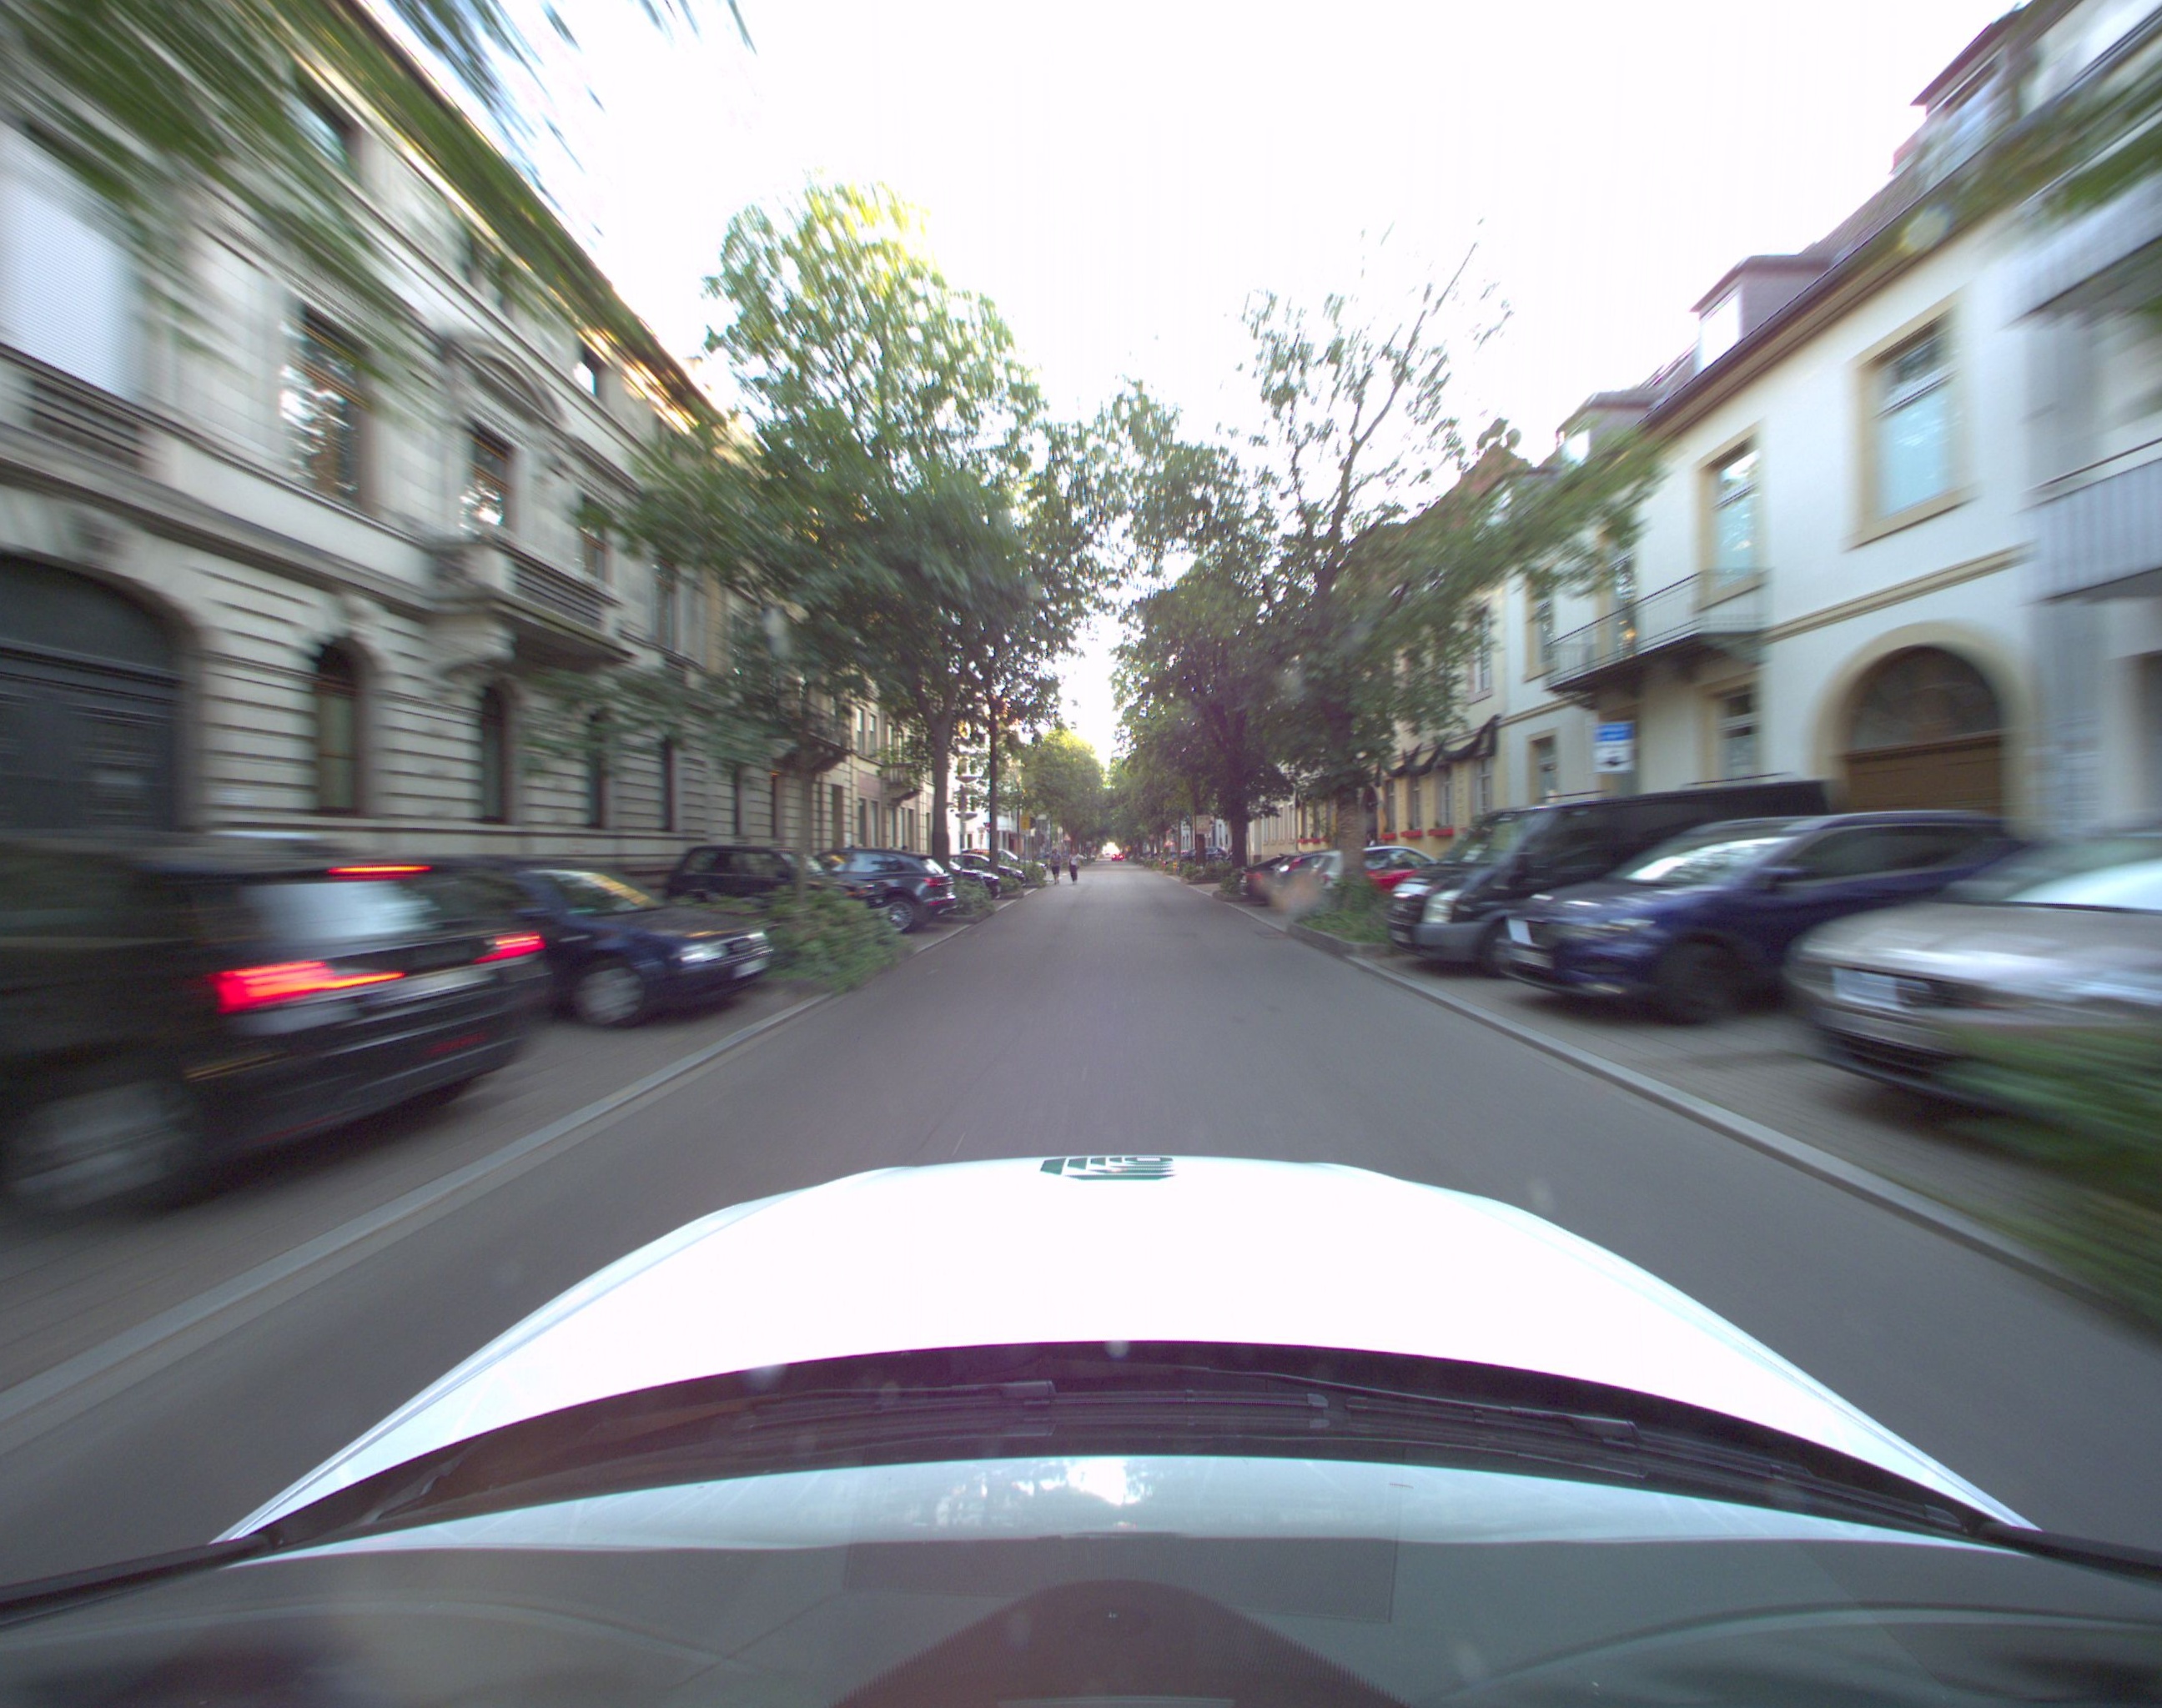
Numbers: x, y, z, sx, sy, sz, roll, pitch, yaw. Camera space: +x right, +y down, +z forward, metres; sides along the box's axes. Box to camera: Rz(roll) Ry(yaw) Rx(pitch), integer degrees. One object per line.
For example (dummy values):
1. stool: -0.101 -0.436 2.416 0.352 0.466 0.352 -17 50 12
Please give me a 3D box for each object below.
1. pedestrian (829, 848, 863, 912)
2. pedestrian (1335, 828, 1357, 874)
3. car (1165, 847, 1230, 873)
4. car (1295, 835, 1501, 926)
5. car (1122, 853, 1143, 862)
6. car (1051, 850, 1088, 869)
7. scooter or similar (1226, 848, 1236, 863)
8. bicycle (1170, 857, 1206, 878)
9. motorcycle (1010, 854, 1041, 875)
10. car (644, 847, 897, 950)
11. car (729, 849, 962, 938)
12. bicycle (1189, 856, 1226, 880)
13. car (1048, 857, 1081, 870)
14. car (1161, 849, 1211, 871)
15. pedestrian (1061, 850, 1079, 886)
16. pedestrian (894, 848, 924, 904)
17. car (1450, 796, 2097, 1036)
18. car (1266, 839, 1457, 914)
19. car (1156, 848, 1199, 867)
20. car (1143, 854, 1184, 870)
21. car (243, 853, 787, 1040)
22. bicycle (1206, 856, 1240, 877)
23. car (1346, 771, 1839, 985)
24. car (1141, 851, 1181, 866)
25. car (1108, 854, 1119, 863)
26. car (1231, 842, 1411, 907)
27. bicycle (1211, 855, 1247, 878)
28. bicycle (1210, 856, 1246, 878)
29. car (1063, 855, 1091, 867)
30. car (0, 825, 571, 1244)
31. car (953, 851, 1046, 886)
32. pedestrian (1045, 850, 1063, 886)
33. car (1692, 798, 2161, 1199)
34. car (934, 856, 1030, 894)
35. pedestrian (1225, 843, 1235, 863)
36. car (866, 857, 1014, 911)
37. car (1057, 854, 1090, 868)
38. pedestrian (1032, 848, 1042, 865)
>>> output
1. pedestrian: -6.429 0.697 22.323 0.666 1.739 0.738 0 0 4
2. pedestrian: 10.440 -0.123 32.104 0.613 1.739 0.624 -3 1 2
3. car: 8.259 0.424 57.957 4.407 1.656 1.901 -2 0 3
4. car: 6.678 0.540 17.447 3.666 1.578 1.715 -4 0 2
5. car: 10.609 0.709 167.948 4.252 1.565 1.964 -3 -1 1
6. car: -1.483 0.712 105.235 4.665 2.478 2.001 -1 -1 1
7. scooter or similar: 11.618 0.115 63.094 0.652 1.153 0.832 -2 0 3
8. bicycle: 6.068 0.769 46.290 1.836 1.135 0.743 -2 0 -9
9. motorcycle: -4.099 0.755 60.085 2.213 1.481 0.854 -1 1 -17
10. car: -5.366 0.739 14.427 3.788 1.672 1.714 1 1 0
11. car: -4.740 0.768 16.829 4.185 1.672 1.908 1 1 2
12. bicycle: 6.643 0.727 42.785 1.823 1.178 0.673 -2 0 1
13. car: -1.949 1.100 96.925 3.854 1.486 1.758 0 0 3
14. car: 7.853 0.450 61.157 3.472 1.452 1.899 -2 0 -1
15. pedestrian: -0.526 0.675 39.625 0.792 1.670 0.831 -2 0 1
16. pedestrian: -5.396 0.681 25.598 0.730 1.739 0.673 0 0 8
17. car: 5.906 0.487 7.404 4.142 1.578 1.969 -4 0 0
18. car: 6.793 0.531 20.048 3.974 1.437 1.926 -4 0 0
19. car: 8.229 0.320 69.674 3.472 1.452 1.899 -2 0 -1
20. car: 8.333 0.787 82.587 3.866 1.440 1.847 -2 0 -2
21. car: -5.151 0.778 7.793 3.949 1.387 1.766 2 1 2
22. bicycle: 7.970 0.706 45.855 1.790 1.107 0.499 -2 0 -4
23. car: 5.985 0.269 10.036 4.673 2.011 2.038 -4 0 1
24. car: 9.462 0.499 96.496 4.697 1.710 1.952 -1 0 3
25. car: 6.119 0.802 153.394 1.949 1.565 4.284 -3 -1 2
26. car: 6.553 0.546 22.578 4.387 1.394 1.885 -4 0 -1
27. bicycle: 8.093 0.685 44.480 1.792 1.143 0.650 -2 0 -7
28. bicycle: 7.874 0.694 43.667 1.791 1.128 0.663 -2 0 -4
29. car: -0.651 1.144 125.389 4.187 1.635 1.964 -3 -1 1
30. car: -5.261 0.701 4.281 3.950 1.596 1.781 3 0 2
31. car: -4.076 0.692 41.058 4.408 1.651 1.874 1 1 2
32. pedestrian: -1.302 0.687 39.793 0.792 1.737 0.831 -2 0 1
33. car: 5.960 0.504 4.325 3.952 1.578 1.851 -4 0 0
34. car: -4.017 0.827 33.640 3.679 1.458 1.873 1 1 1
35. pedestrian: 11.642 -0.076 63.755 0.652 1.536 0.832 -2 0 3
36. car: -4.021 0.846 23.752 3.931 1.532 1.908 0 0 1
37. car: -1.056 0.980 117.671 4.665 1.854 1.964 -3 -1 1
38. pedestrian: -4.684 0.278 86.878 0.697 1.757 0.744 -1 -1 25
